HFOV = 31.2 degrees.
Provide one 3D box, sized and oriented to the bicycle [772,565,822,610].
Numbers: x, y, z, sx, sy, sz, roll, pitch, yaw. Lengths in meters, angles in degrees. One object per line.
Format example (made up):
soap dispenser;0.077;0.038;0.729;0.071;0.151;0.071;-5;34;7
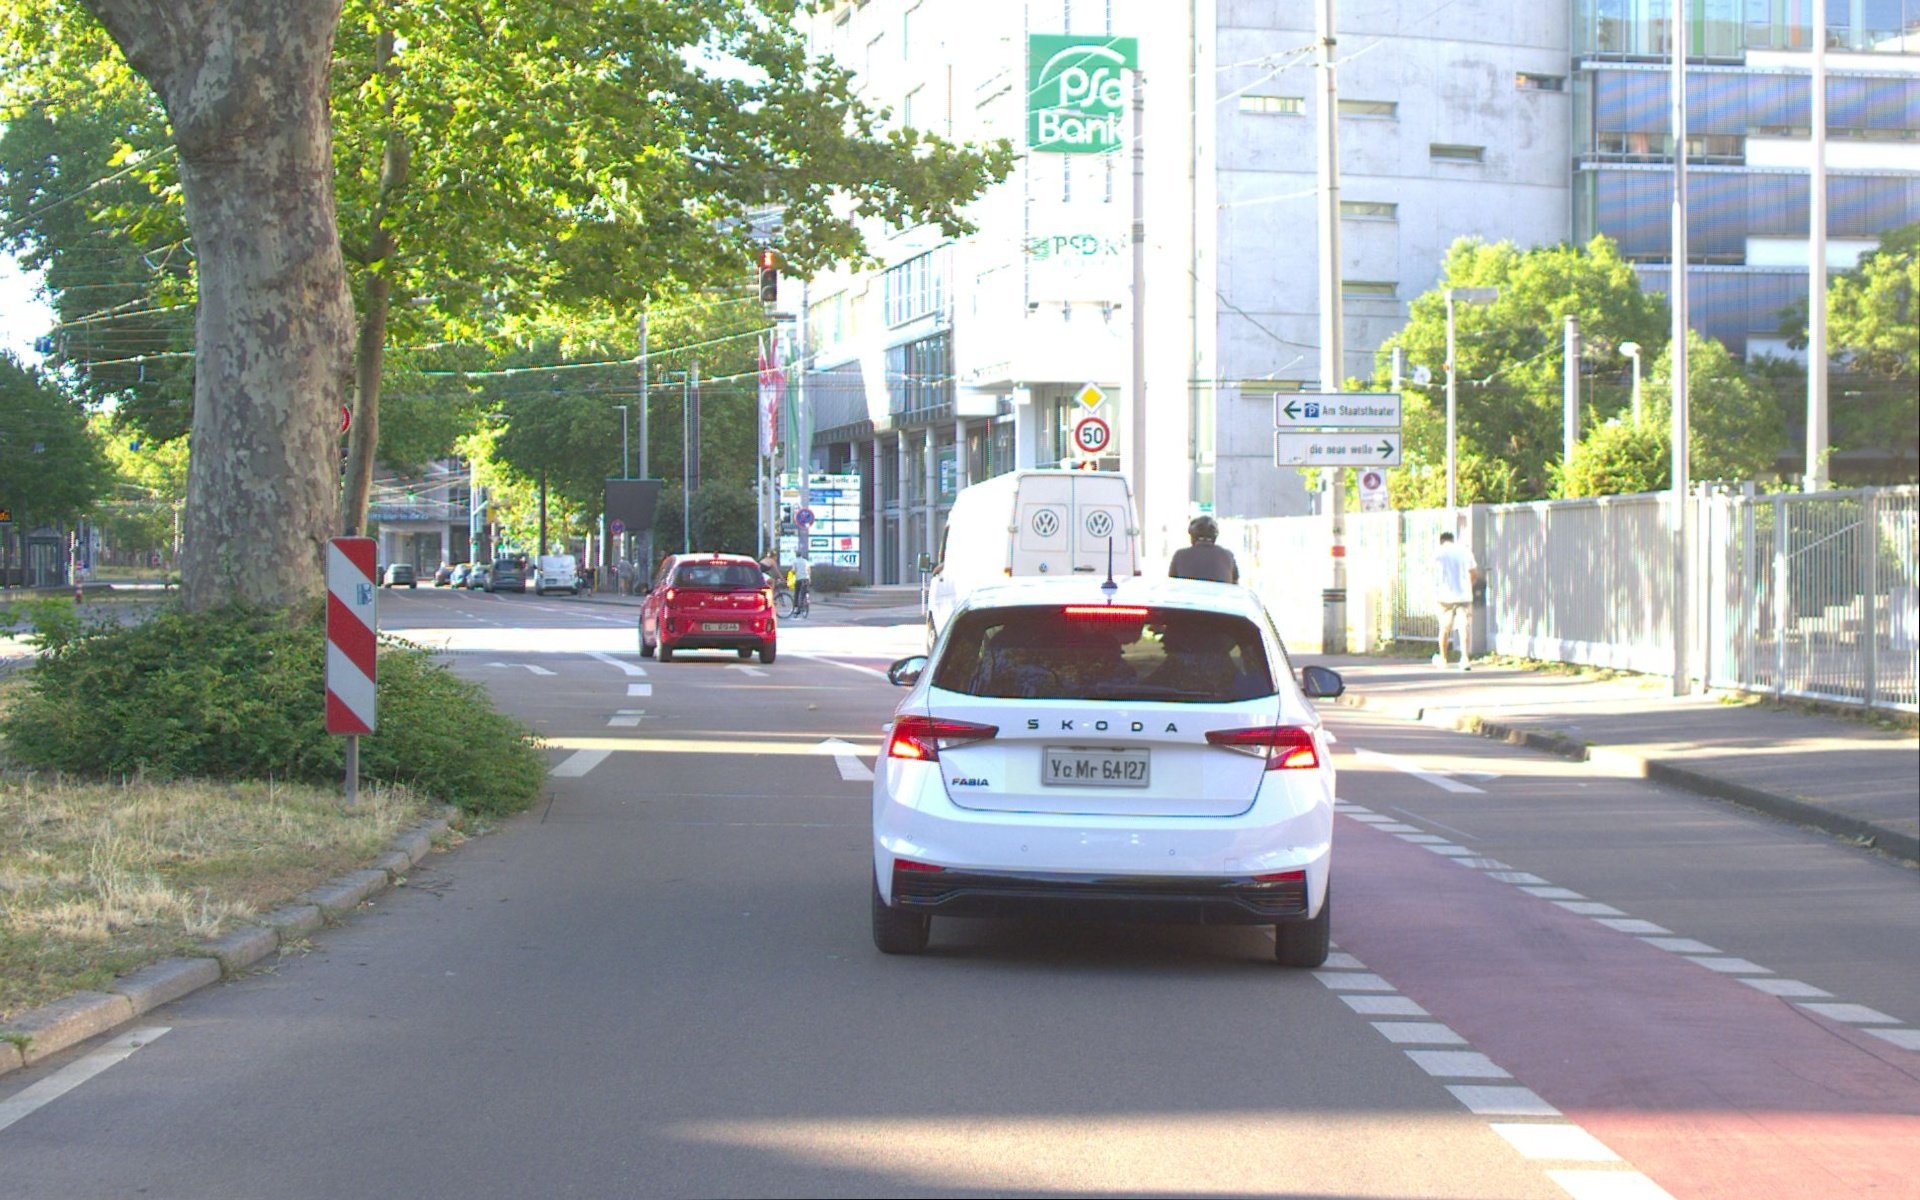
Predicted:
bicycle;-4.342;-0.342;91.654;0.792;1.157;2.500;0;1;-16

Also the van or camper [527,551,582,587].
van or camper;-20.343;-1.583;172.251;2.144;1.744;4.433;-1;1;-14

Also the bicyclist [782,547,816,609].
bicyclist;-4.277;-0.589;91.445;0.785;1.629;0.639;0;1;-15

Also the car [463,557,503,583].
car;-28.284;-1.782;203.847;1.884;1.523;4.433;-1;1;-14

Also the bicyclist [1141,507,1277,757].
bicyclist;1.691;0.209;23.419;0.743;1.663;0.745;2;1;-7

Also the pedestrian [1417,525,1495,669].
pedestrian;6.049;-0.042;41.965;0.786;1.742;0.772;-1;1;-4

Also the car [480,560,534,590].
car;-24.508;-1.349;185.904;2.477;1.523;4.433;-1;1;-13

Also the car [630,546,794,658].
car;-3.482;-0.009;47.700;1.839;1.484;3.717;0;1;-11

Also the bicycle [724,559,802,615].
bicycle;-4.946;-0.344;86.418;1.989;1.374;0.647;-1;1;-44

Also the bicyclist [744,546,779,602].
bicyclist;-4.982;-0.654;86.384;0.605;1.384;0.636;-1;1;-44

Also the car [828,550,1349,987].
car;0.614;0.567;14.028;1.802;1.496;3.981;1;1;5

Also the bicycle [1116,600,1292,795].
bicycle;1.648;0.641;23.589;0.743;1.220;2.156;2;1;-8

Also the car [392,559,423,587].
car;-33.647;-1.651;209.288;1.657;1.601;3.532;-1;1;-12

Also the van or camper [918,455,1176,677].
van or camper;1.074;-0.475;46.750;2.268;2.724;6.348;2;0;-9
